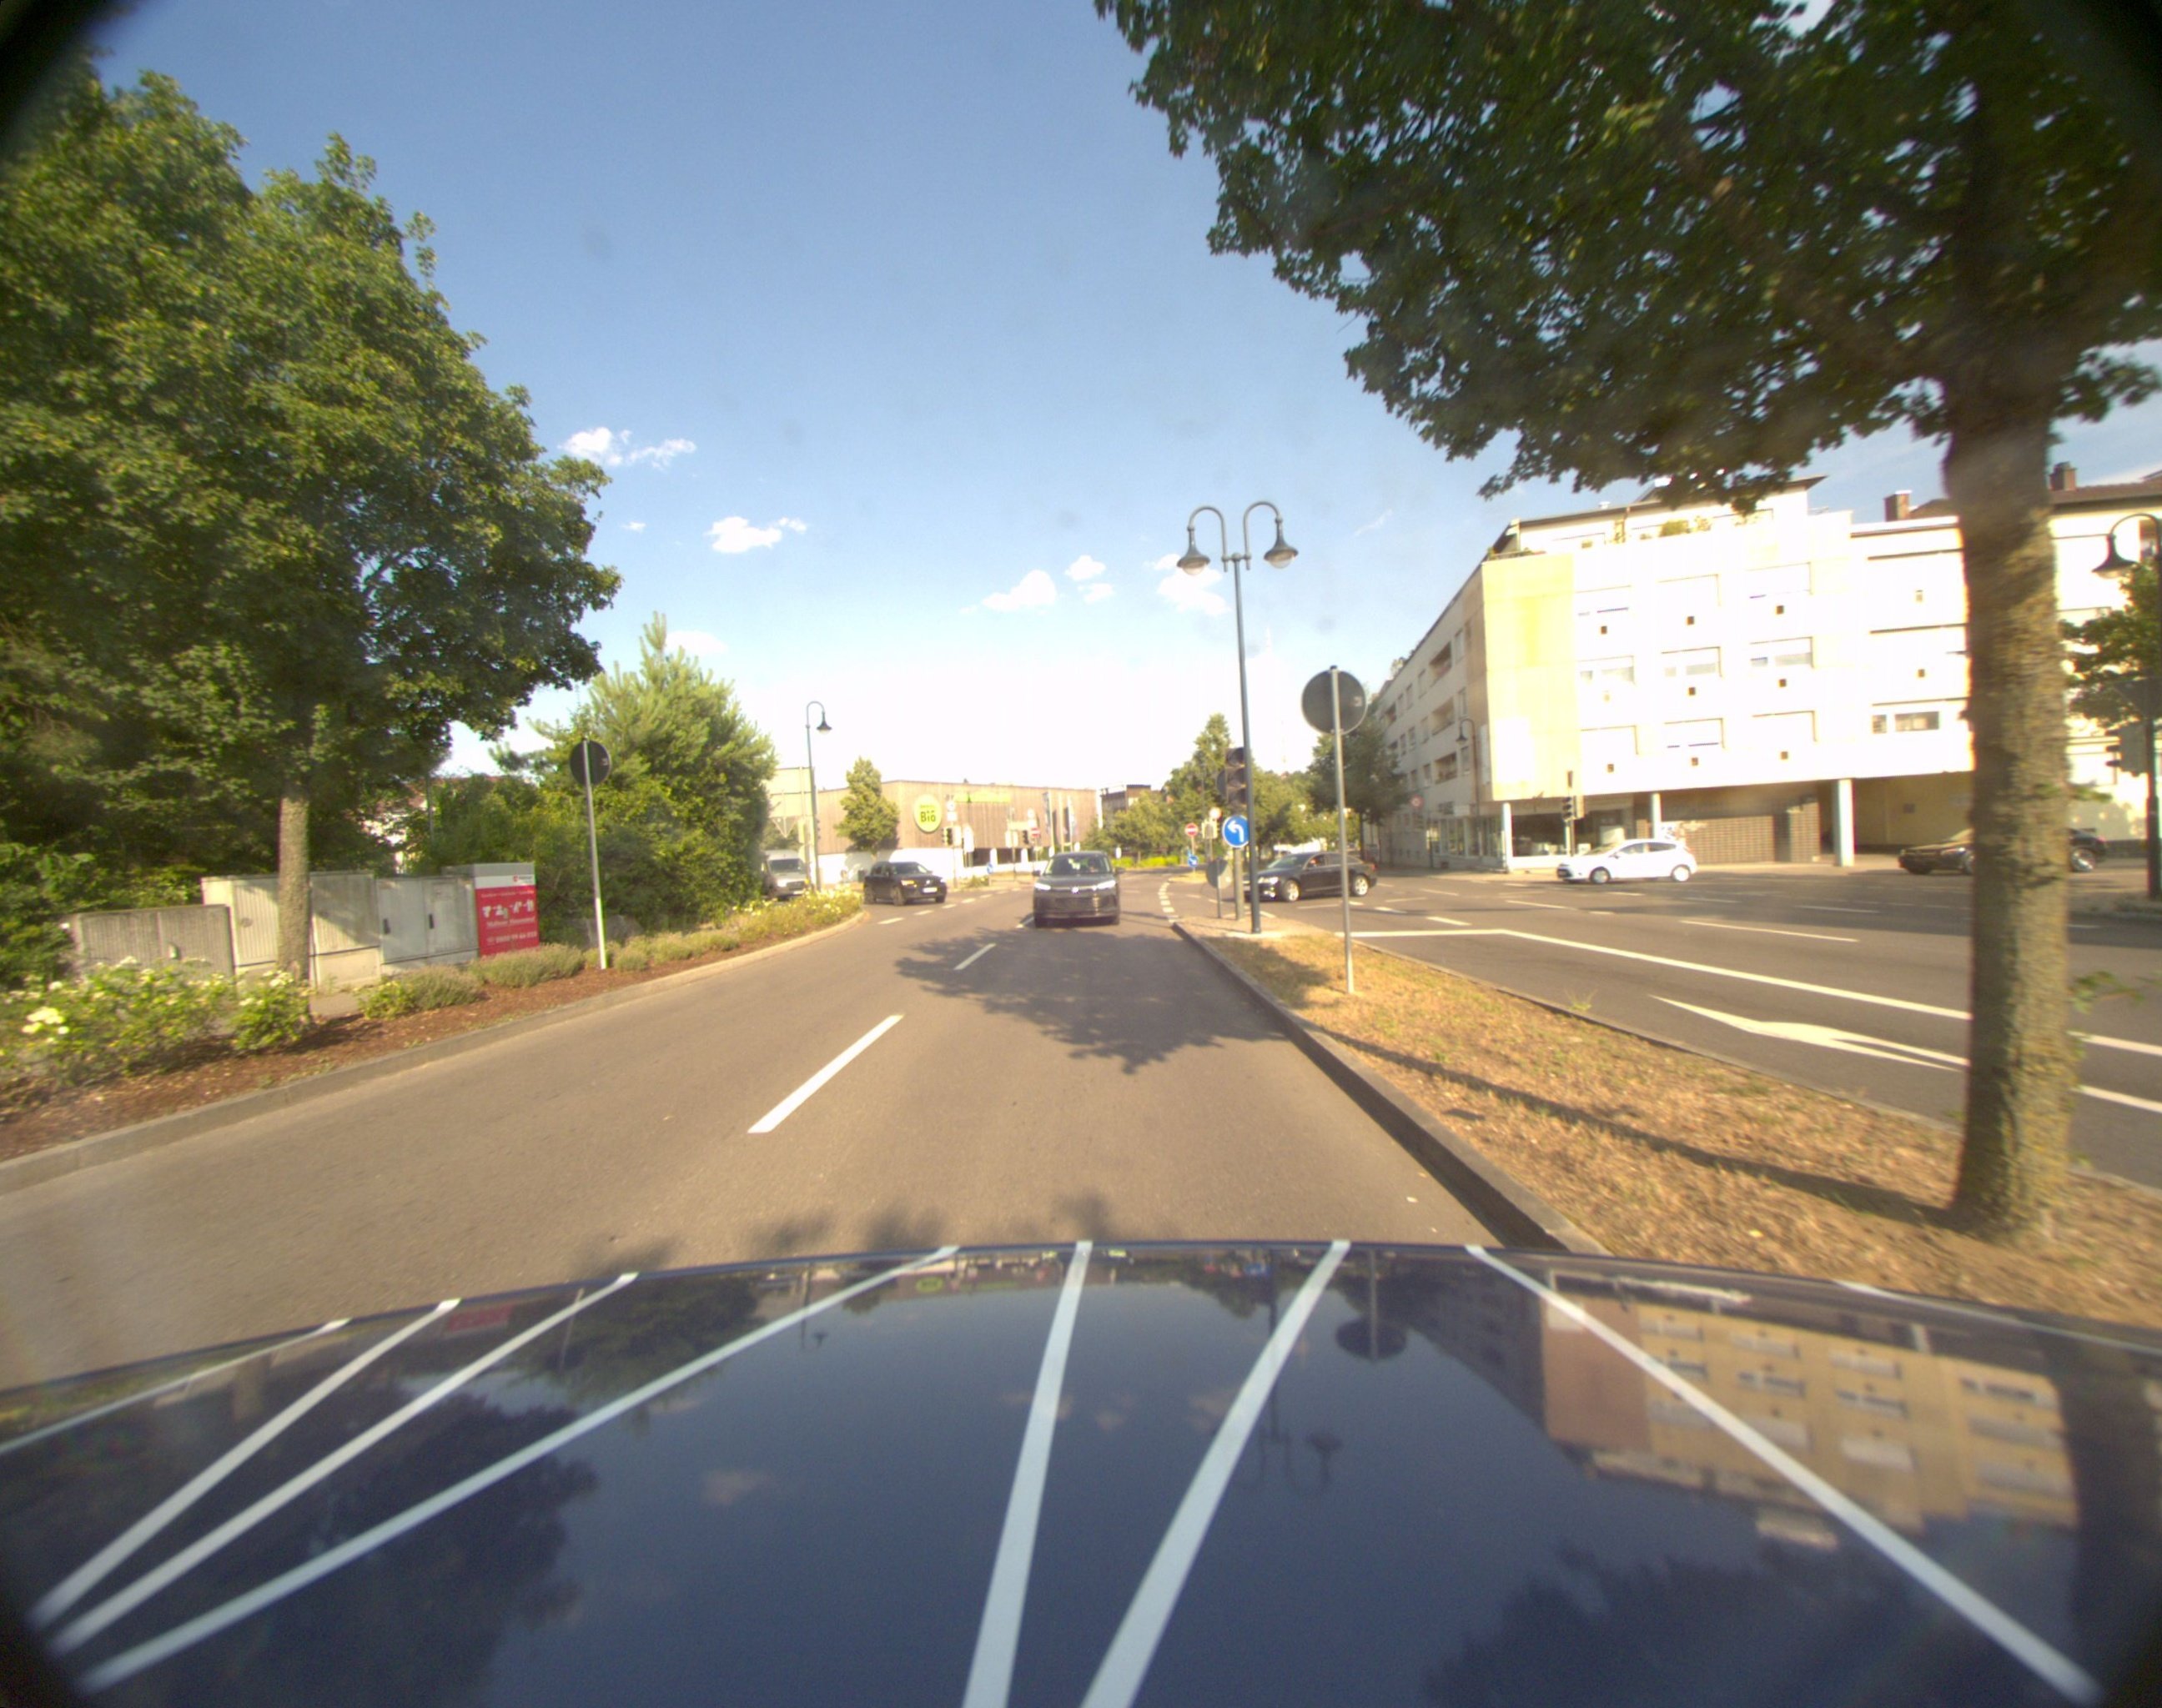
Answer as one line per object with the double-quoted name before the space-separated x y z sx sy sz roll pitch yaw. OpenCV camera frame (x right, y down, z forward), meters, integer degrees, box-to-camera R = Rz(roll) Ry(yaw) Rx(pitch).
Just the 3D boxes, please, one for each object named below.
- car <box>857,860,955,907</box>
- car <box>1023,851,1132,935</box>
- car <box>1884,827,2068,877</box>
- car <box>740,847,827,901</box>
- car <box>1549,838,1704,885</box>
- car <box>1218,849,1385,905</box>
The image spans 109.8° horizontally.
"car" -6.594 1.082 28.368 1.796 1.558 4.260 -2 0 -40
"car" 0.058 0.784 17.449 1.724 1.605 4.264 -1 1 10
"car" 28.298 -0.060 24.129 3.588 1.428 1.749 -2 1 5
"car" -15.407 1.027 39.105 2.198 2.507 5.844 -2 0 -41
"car" 18.229 0.240 25.550 3.820 1.428 1.868 -2 1 6
"car" 6.703 0.645 22.976 4.881 1.428 1.913 -2 1 -28
